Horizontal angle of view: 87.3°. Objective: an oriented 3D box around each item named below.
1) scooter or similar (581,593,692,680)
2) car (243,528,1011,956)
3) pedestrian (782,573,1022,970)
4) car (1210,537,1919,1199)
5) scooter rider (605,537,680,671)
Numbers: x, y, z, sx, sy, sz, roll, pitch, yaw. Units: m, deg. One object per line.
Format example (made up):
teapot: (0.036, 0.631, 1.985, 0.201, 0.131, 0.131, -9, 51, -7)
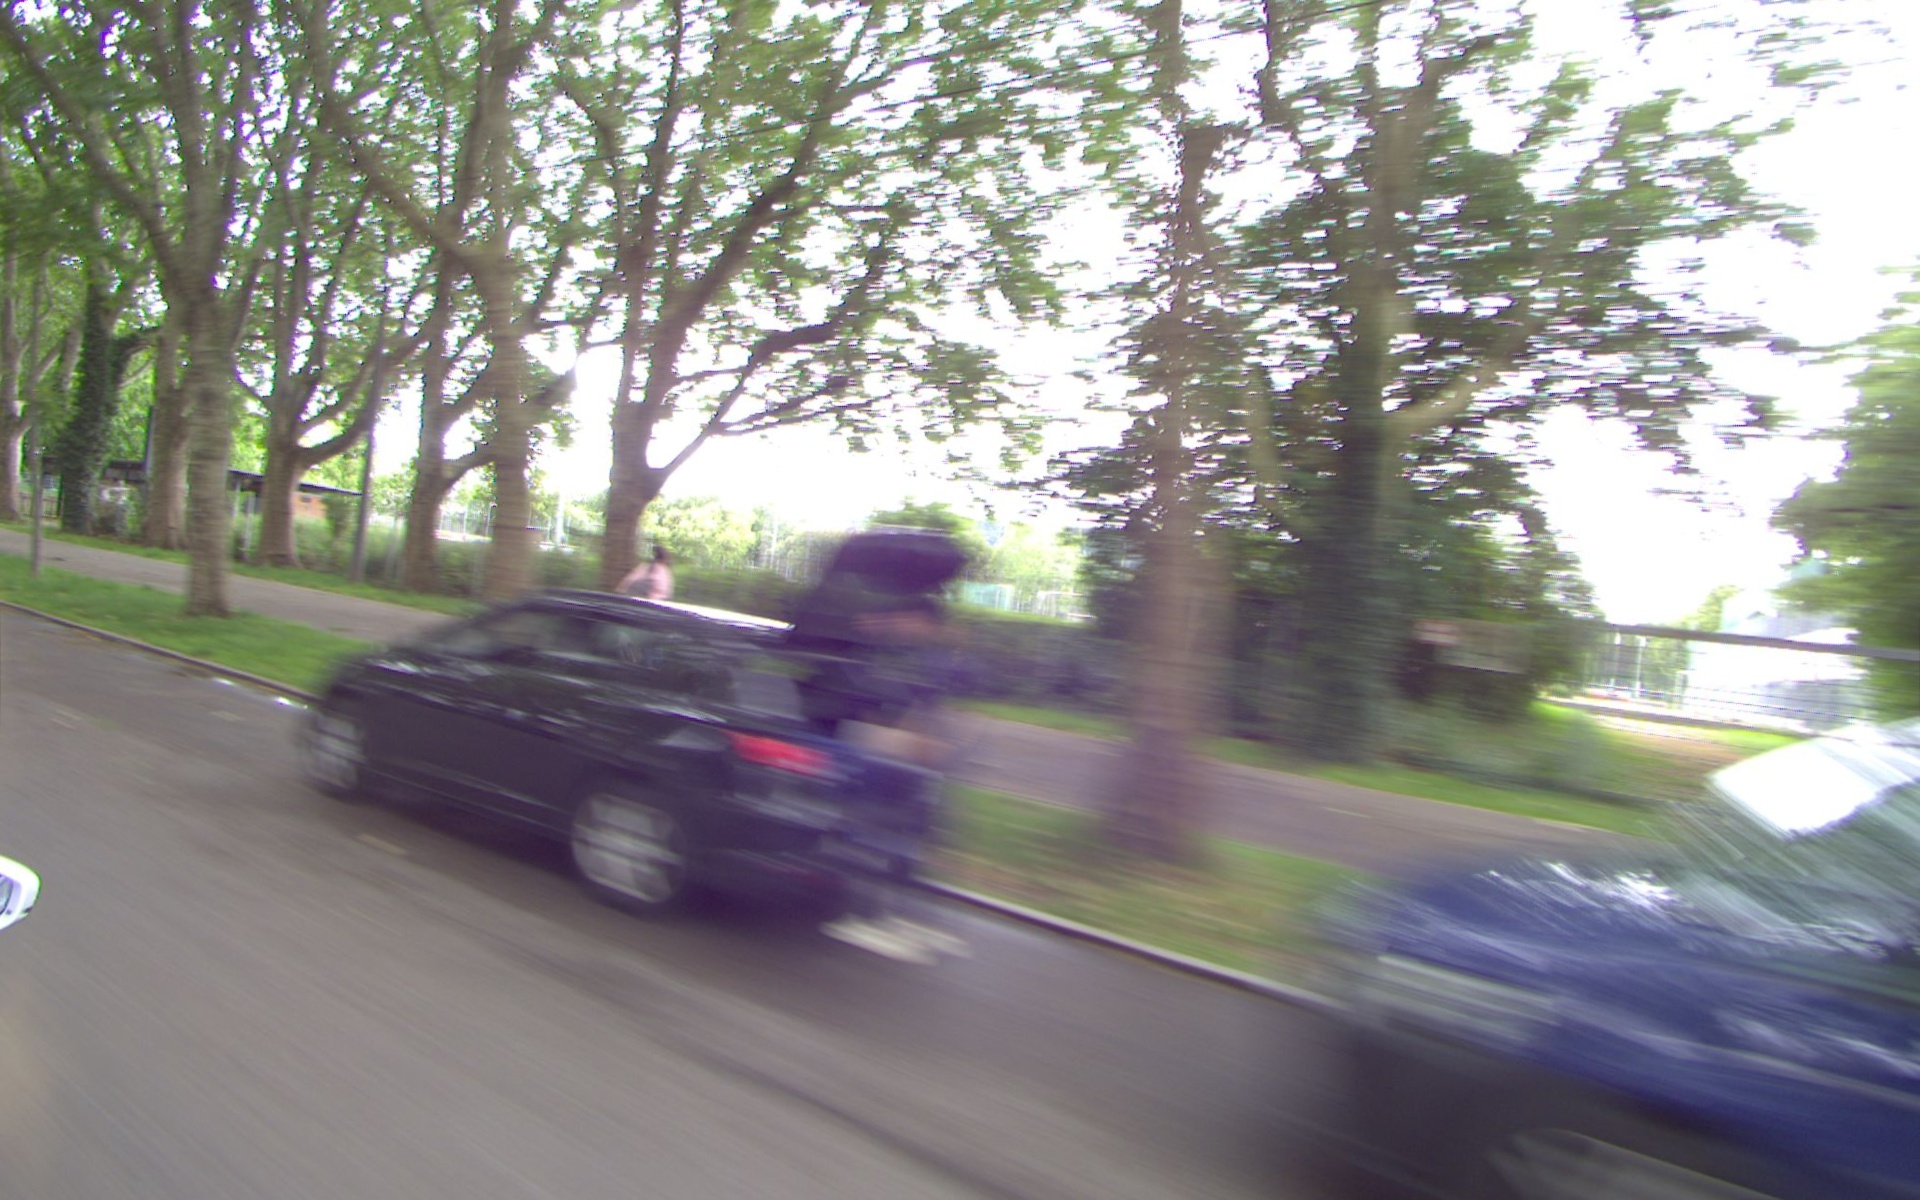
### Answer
scooter or similar: (-4.639, 0.510, 14.404, 1.442, 1.052, 0.680, 7, 3, 32)
car: (-2.118, 0.595, 6.086, 4.299, 1.495, 1.997, 7, -2, 32)
pedestrian: (-0.266, 0.753, 4.757, 0.730, 1.647, 0.634, 7, 1, 32)
car: (3.123, 1.071, 2.680, 4.366, 1.803, 1.849, 7, -2, 23)
scooter rider: (-4.522, 0.067, 14.335, 0.577, 1.824, 0.676, 7, 3, 32)
